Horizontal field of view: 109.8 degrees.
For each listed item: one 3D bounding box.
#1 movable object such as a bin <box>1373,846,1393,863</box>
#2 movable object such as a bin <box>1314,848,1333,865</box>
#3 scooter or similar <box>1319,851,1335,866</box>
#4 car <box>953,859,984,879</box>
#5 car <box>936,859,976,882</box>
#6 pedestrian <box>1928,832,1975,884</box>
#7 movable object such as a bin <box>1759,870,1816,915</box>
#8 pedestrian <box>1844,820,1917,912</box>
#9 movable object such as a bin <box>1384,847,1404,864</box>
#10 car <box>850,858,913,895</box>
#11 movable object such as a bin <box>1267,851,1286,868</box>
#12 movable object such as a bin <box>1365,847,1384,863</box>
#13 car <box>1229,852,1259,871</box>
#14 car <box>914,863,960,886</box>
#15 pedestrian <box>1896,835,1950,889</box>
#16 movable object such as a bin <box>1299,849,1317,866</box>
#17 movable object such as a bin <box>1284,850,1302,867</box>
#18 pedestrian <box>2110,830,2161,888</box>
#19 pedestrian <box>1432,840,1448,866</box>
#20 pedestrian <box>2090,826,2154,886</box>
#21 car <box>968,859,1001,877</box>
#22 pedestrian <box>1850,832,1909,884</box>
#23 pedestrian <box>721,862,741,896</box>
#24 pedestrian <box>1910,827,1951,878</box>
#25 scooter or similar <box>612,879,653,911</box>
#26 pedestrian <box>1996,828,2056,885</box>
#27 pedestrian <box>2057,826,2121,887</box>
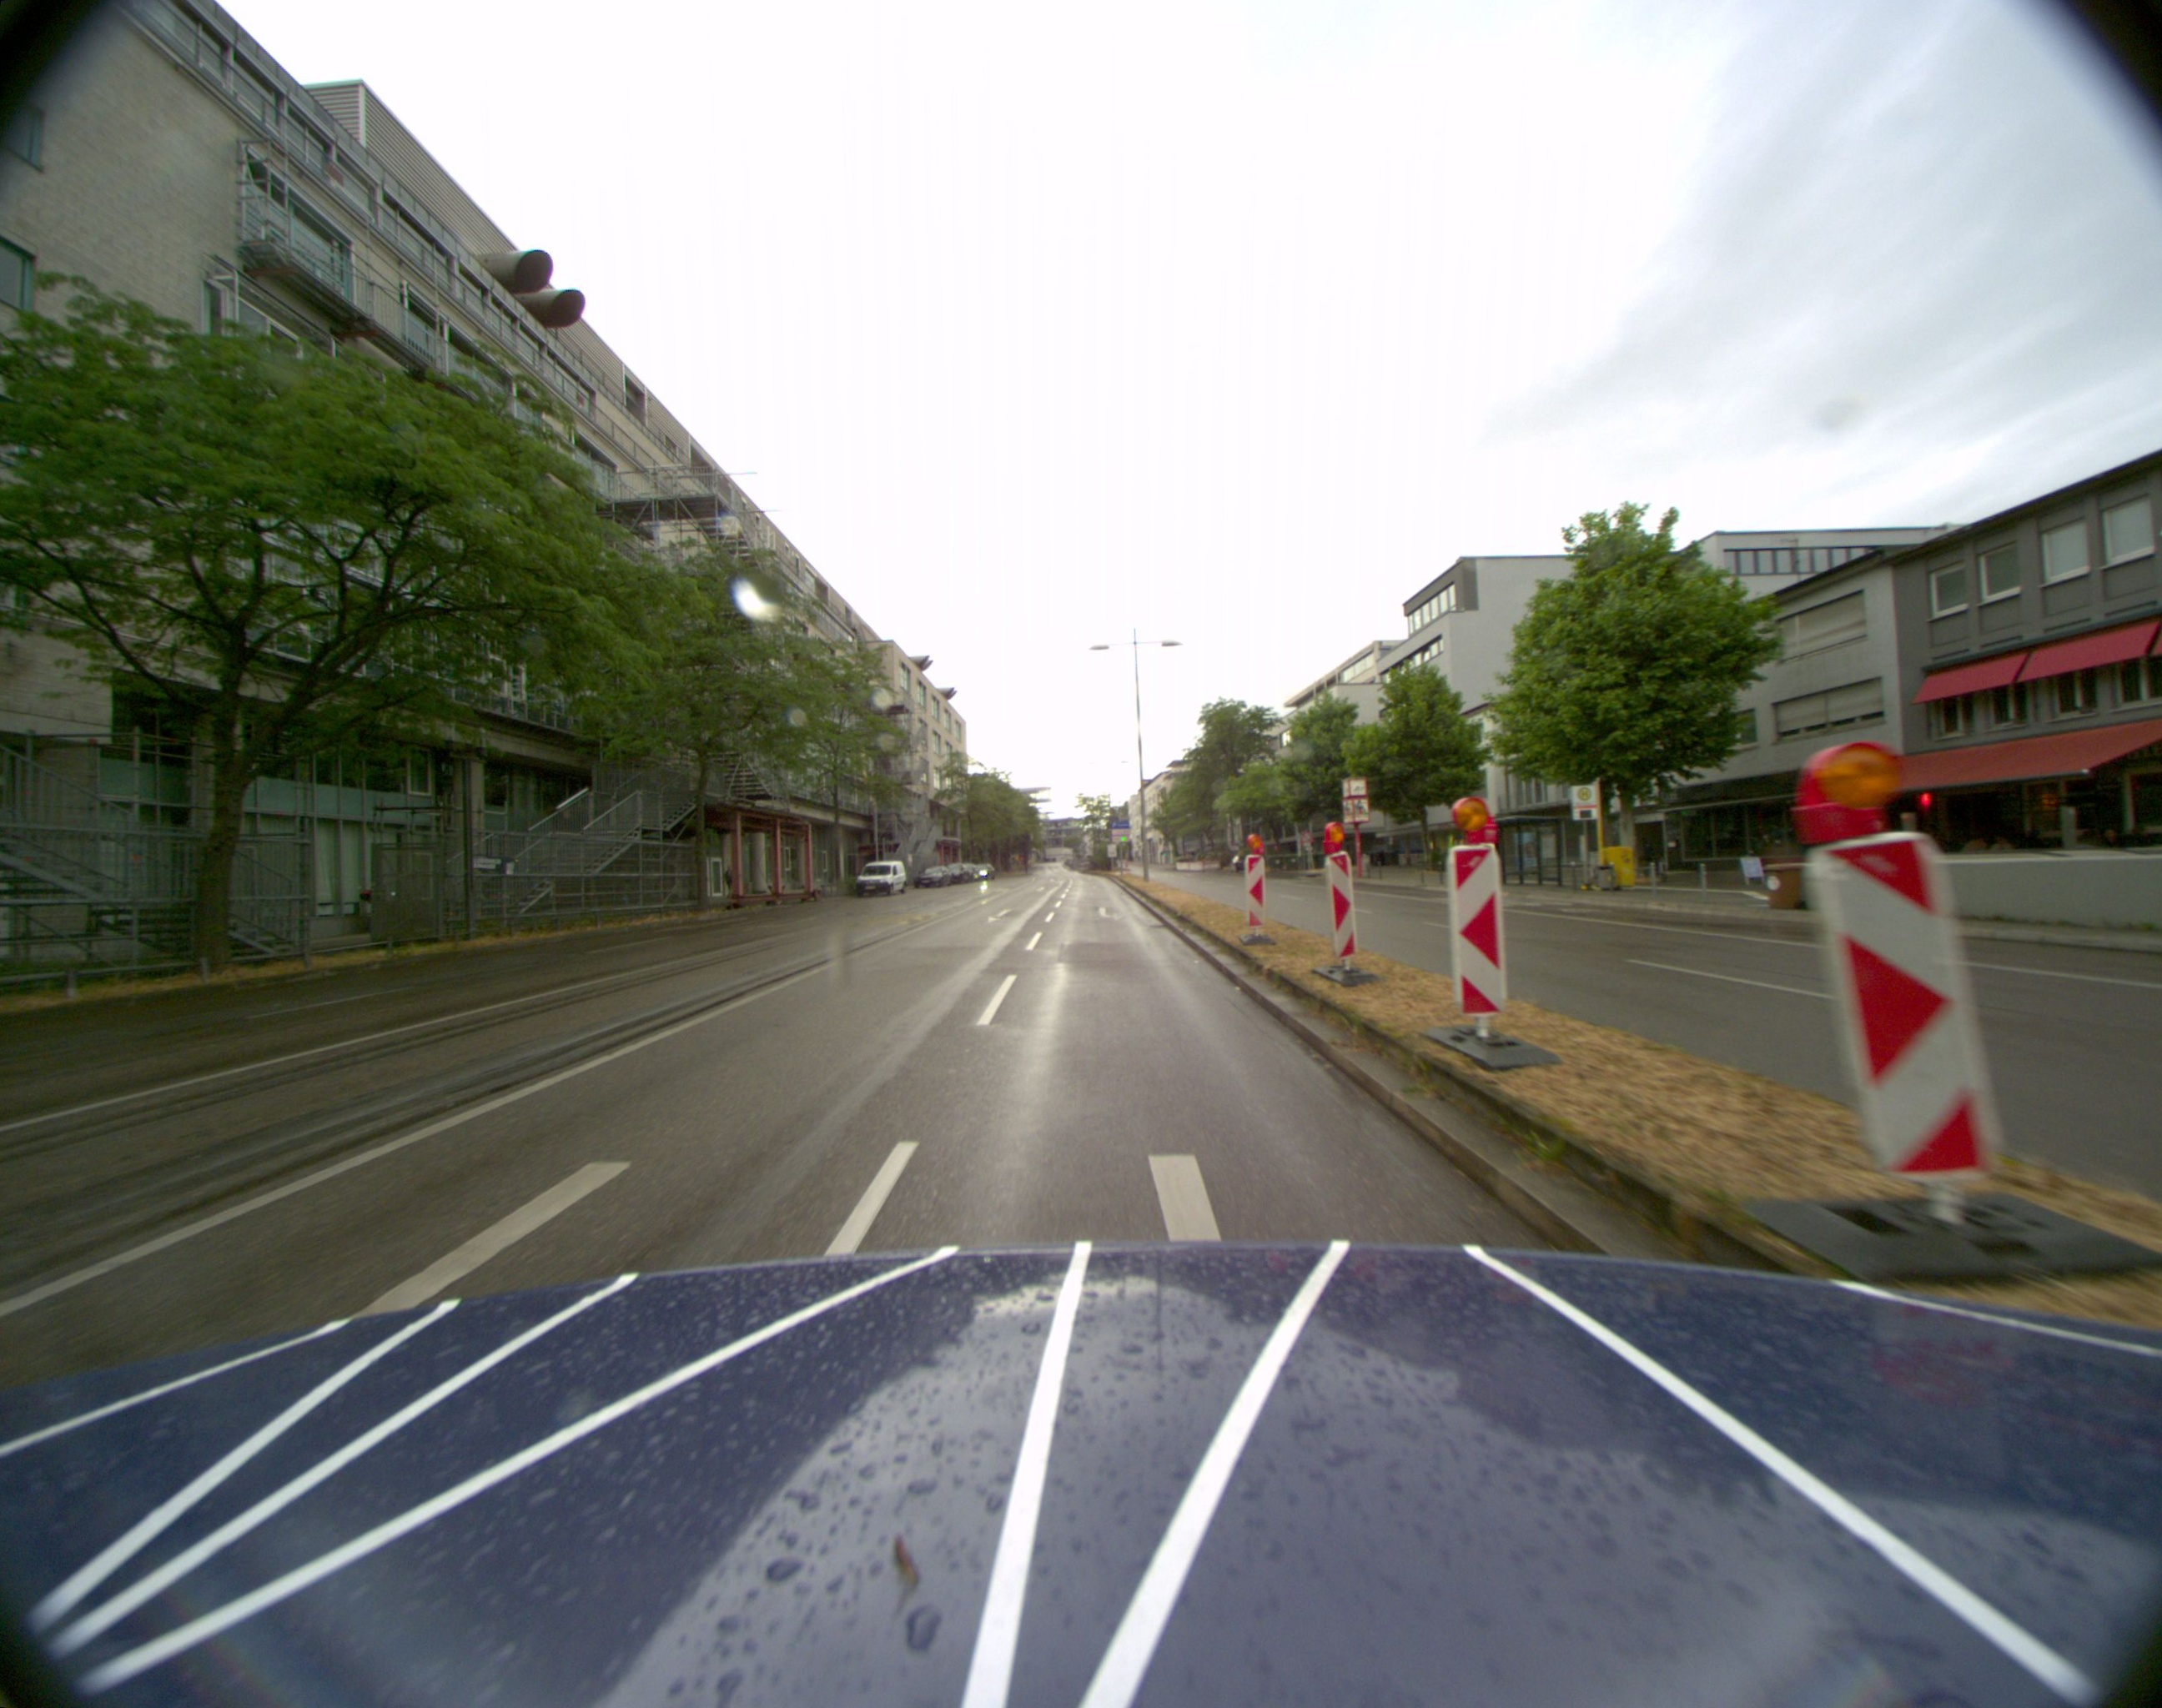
[{"bbox_3d":[26.876,0.068,67.670,1.088,1.427,1.281,-2,0,-9],"label":"movable object such as a bin"},{"bbox_3d":[21.743,0.186,68.194,1.281,1.479,1.088,-2,0,1],"label":"movable object such as a bin"},{"bbox_3d":[19.666,0.388,60.852,0.777,1.114,1.324,-5,-3,2],"label":"scooter or similar"},{"bbox_3d":[-9.412,1.248,64.007,1.866,1.591,4.593,-2,0,1],"label":"car"},{"bbox_3d":[-9.560,1.209,58.632,1.998,1.636,4.863,-2,0,3],"label":"car"},{"bbox_3d":[24.911,0.104,21.754,0.691,1.442,0.547,-2,0,-4],"label":"pedestrian"},{"bbox_3d":[14.517,0.777,15.625,0.533,0.892,0.682,0,0,-9],"label":"movable object such as a bin"},{"bbox_3d":[16.809,0.253,15.993,0.691,1.874,0.758,-2,0,-3],"label":"pedestrian"},{"bbox_3d":[27.280,0.140,66.291,1.088,1.427,1.281,-2,0,-9],"label":"movable object such as a bin"},{"bbox_3d":[-10.434,1.130,40.094,1.998,1.739,4.527,-2,0,1],"label":"car"},{"bbox_3d":[17.557,0.497,68.178,1.362,1.418,1.088,-2,0,1],"label":"movable object such as a bin"},{"bbox_3d":[26.689,0.130,69.209,1.088,1.427,1.281,-2,0,-9],"label":"movable object such as a bin"},{"bbox_3d":[15.262,0.727,71.455,1.783,1.626,4.024,-2,-1,-2],"label":"car"},{"bbox_3d":[-9.755,1.334,51.839,1.873,1.429,4.922,-2,0,3],"label":"car"},{"bbox_3d":[23.186,0.214,20.934,0.691,1.442,0.707,-2,0,-4],"label":"pedestrian"},{"bbox_3d":[20.348,0.297,68.203,1.281,1.418,1.088,-2,0,1],"label":"movable object such as a bin"},{"bbox_3d":[18.996,0.414,68.178,1.281,1.418,1.088,-2,0,1],"label":"movable object such as a bin"},{"bbox_3d":[24.922,0.116,17.828,0.635,1.336,0.691,-2,0,-6],"label":"pedestrian"},{"bbox_3d":[23.878,-0.062,50.559,0.698,1.753,0.653,-1,1,3],"label":"pedestrian"},{"bbox_3d":[25.679,0.047,18.748,0.635,1.442,0.691,-2,0,-6],"label":"pedestrian"},{"bbox_3d":[-8.814,1.264,69.926,1.998,1.591,5.291,-2,0,4],"label":"car"},{"bbox_3d":[23.108,0.117,22.008,0.691,1.442,0.914,-2,0,-3],"label":"pedestrian"},{"bbox_3d":[-18.106,1.279,39.325,0.677,1.732,0.653,-1,1,3],"label":"pedestrian"},{"bbox_3d":[26.147,-0.048,23.403,0.598,1.561,0.604,-1,1,-9],"label":"pedestrian"},{"bbox_3d":[-17.173,1.552,29.126,0.633,1.155,1.547,-2,0,1],"label":"scooter or similar"},{"bbox_3d":[24.952,0.065,20.065,0.728,1.442,0.691,-2,0,-6],"label":"pedestrian"},{"bbox_3d":[24.777,0.068,18.689,0.635,1.442,0.691,-2,0,-6],"label":"pedestrian"}]
